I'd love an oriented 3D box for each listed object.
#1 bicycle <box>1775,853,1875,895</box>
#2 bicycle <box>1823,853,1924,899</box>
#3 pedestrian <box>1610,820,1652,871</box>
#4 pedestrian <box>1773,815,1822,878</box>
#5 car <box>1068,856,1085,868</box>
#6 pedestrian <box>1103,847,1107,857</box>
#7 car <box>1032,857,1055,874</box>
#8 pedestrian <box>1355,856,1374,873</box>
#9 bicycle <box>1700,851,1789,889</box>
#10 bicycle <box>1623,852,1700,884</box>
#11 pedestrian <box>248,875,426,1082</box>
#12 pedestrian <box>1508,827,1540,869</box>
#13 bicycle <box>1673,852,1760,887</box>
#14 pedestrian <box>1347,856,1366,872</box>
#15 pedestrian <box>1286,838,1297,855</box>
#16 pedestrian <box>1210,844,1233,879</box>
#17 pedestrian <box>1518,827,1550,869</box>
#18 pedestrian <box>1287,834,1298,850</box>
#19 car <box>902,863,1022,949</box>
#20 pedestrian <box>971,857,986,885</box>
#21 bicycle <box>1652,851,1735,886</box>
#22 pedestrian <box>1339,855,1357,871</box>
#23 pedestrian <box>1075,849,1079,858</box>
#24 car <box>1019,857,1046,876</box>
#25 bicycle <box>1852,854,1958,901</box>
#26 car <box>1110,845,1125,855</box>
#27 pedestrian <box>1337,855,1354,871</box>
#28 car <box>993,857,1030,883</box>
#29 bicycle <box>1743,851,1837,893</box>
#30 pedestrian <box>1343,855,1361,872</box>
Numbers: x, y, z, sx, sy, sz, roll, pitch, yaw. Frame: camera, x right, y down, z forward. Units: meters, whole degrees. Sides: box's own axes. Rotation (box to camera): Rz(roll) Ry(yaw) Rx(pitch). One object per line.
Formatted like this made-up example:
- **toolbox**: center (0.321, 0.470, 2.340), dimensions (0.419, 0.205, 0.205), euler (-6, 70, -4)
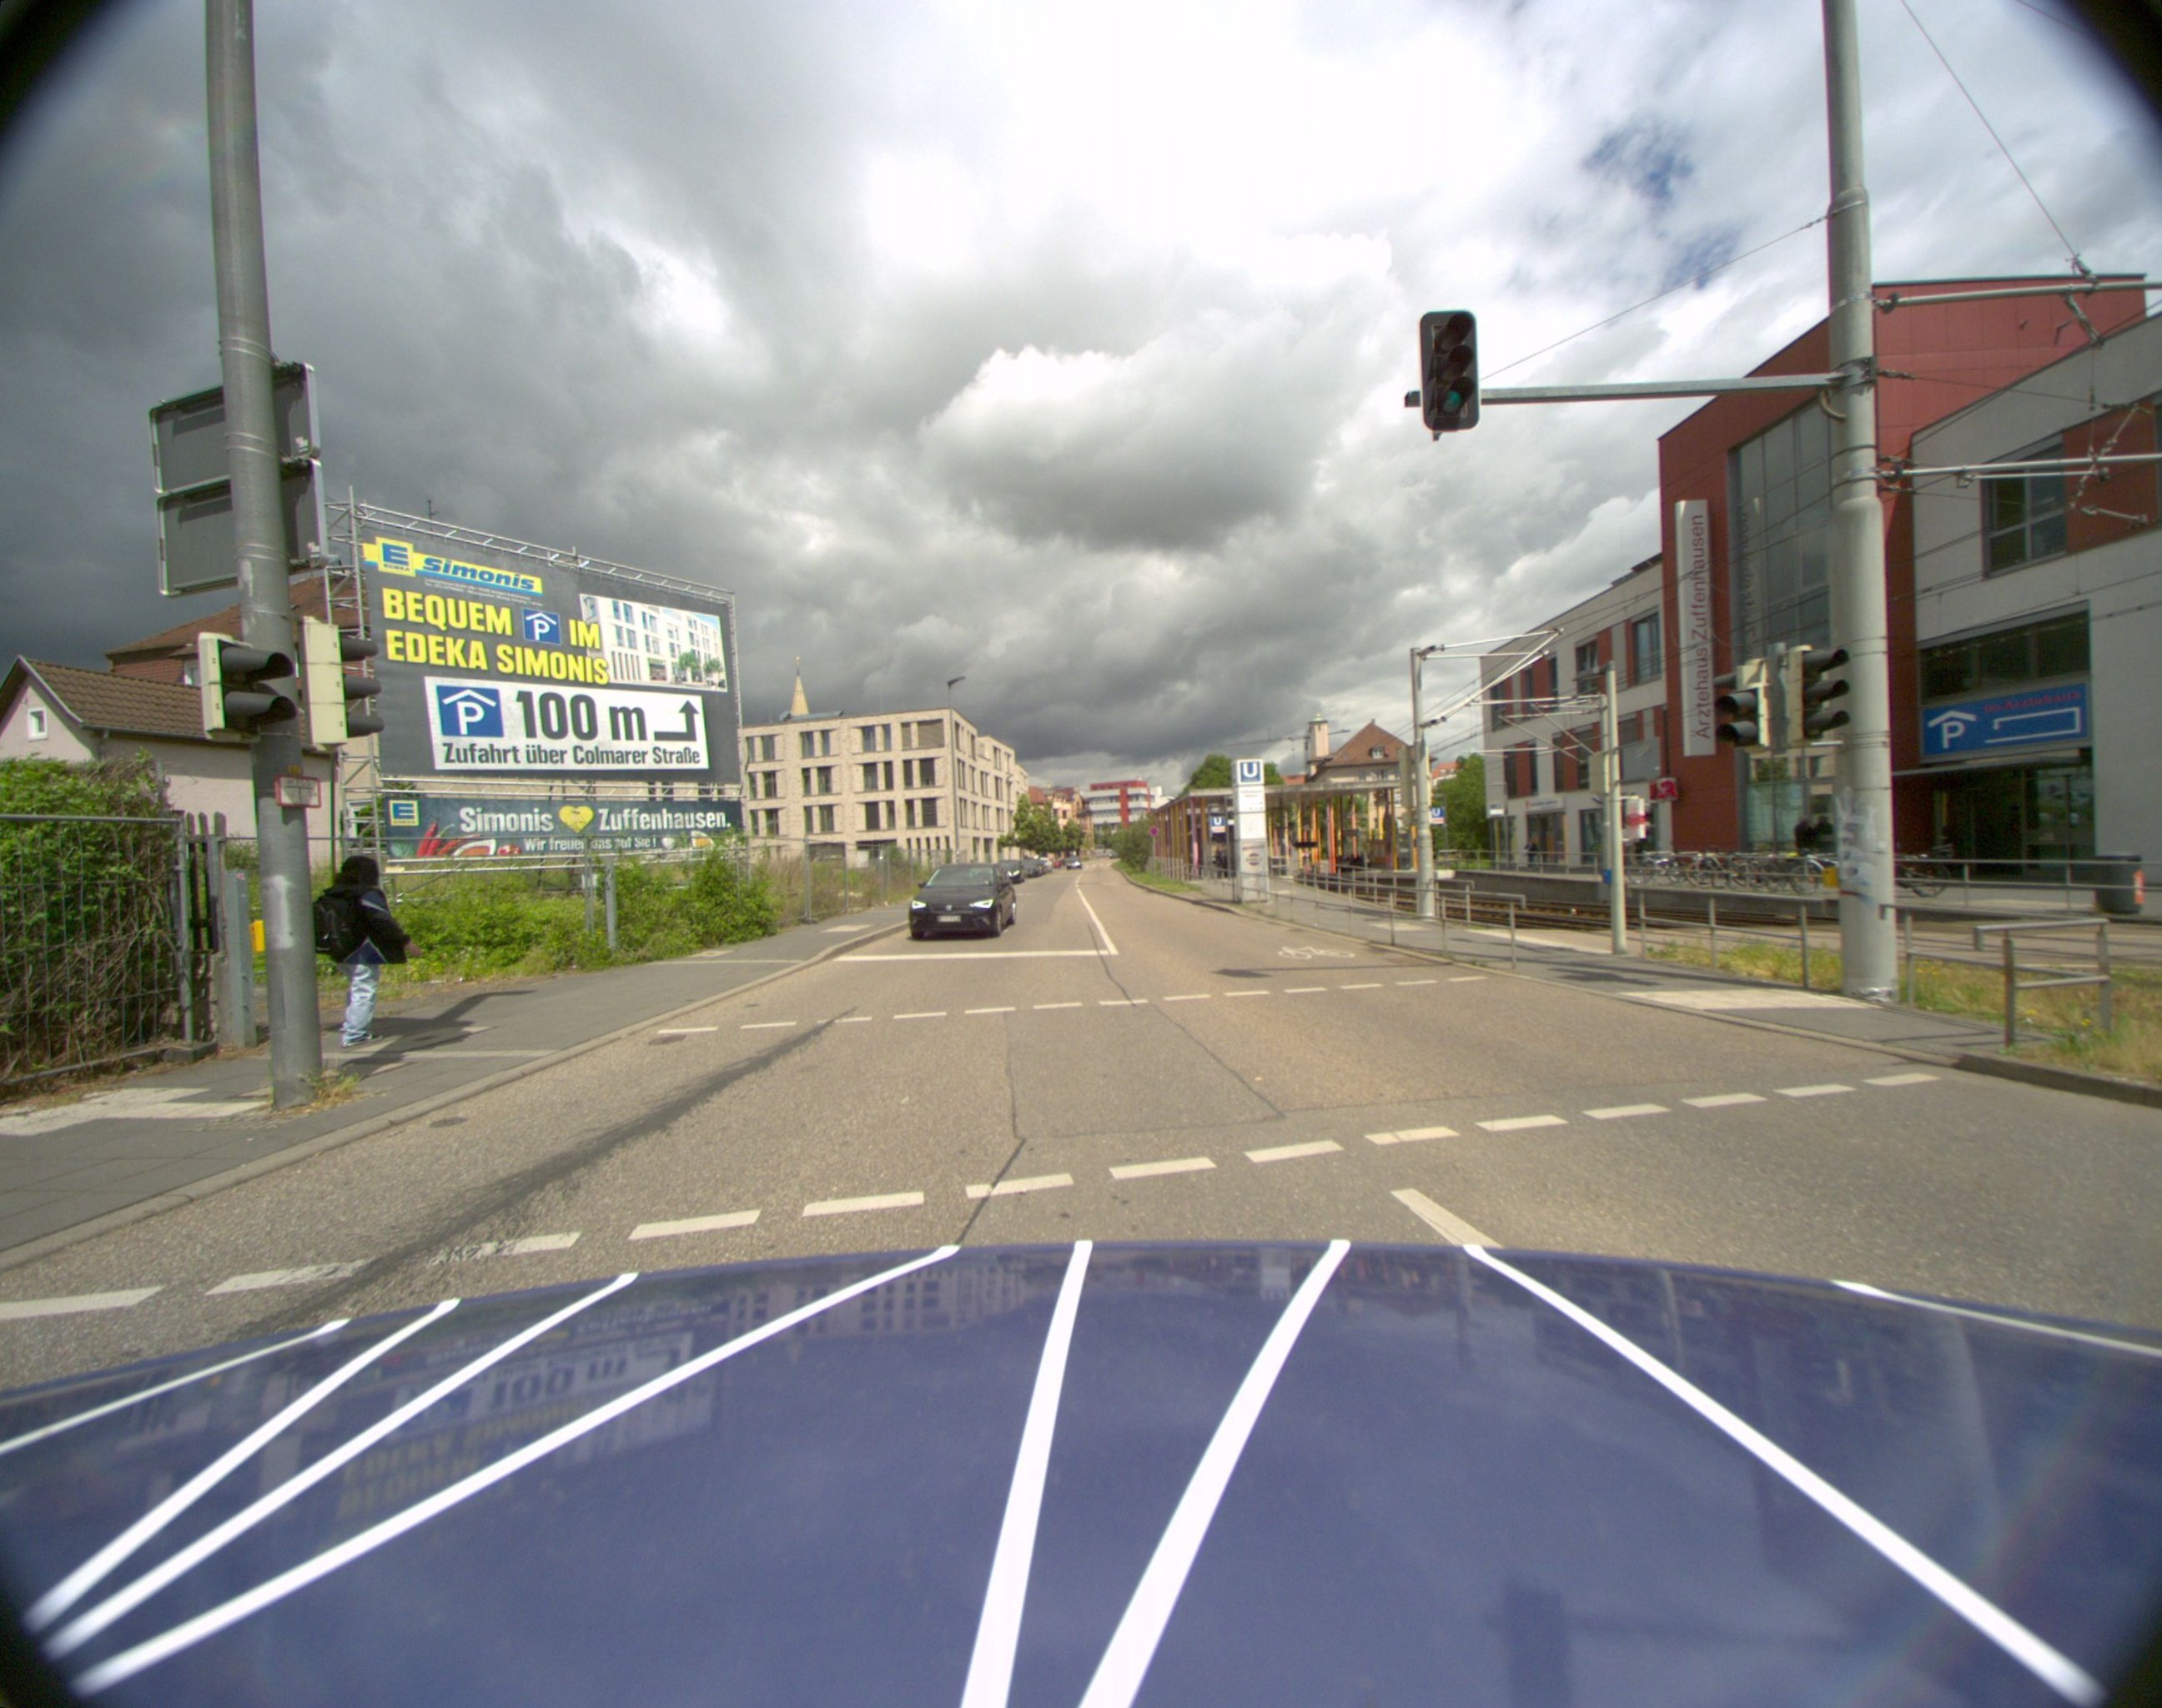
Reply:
- **bicycle**: center (17.648, 0.472, 18.041), dimensions (1.862, 0.930, 0.454), euler (-2, 1, 3)
- **bicycle**: center (17.715, 0.492, 17.001), dimensions (1.739, 0.952, 0.428), euler (-2, 1, 3)
- **pedestrian**: center (21.815, -0.350, 30.152), dimensions (0.864, 1.957, 1.106), euler (-1, 2, 3)
- **pedestrian**: center (22.014, -0.237, 23.342), dimensions (0.881, 1.835, 0.862), euler (-4, 3, -27)
- **car**: center (-0.486, 0.899, 88.024), dimensions (1.677, 1.299, 3.794), euler (-1, 1, 3)
- **pedestrian**: center (4.857, -0.453, 153.081), dimensions (0.800, 2.002, 0.810), euler (-1, 0, 9)
- **car**: center (-3.296, 0.994, 67.665), dimensions (1.677, 1.299, 3.794), euler (-1, 1, 3)
- **pedestrian**: center (19.271, 0.702, 51.686), dimensions (0.943, 1.128, 0.886), euler (-2, 0, 2)
- **bicycle**: center (17.551, 0.432, 20.124), dimensions (1.861, 0.934, 0.454), euler (-2, 1, 5)
- **bicycle**: center (17.535, 0.425, 22.982), dimensions (1.861, 0.876, 0.455), euler (-2, 1, 9)
- **pedestrian**: center (-6.316, 1.005, 6.484), dimensions (0.765, 1.633, 0.778), euler (-1, 0, 12)
- **pedestrian**: center (21.235, -0.301, 36.425), dimensions (0.864, 1.957, 1.105), euler (-1, 2, -1)
- **bicycle**: center (17.569, 0.425, 21.025), dimensions (1.861, 0.917, 0.455), euler (-2, 1, 8)
- **pedestrian**: center (19.076, 0.688, 52.642), dimensions (0.943, 1.128, 0.886), euler (-2, 0, 2)
- **pedestrian**: center (25.185, -0.907, 91.019), dimensions (1.127, 2.002, 1.459), euler (-2, 0, 13)
- **pedestrian**: center (7.707, 0.399, 41.647), dimensions (1.105, 1.903, 0.864), euler (-1, 2, 2)
- **pedestrian**: center (21.721, -0.308, 36.443), dimensions (0.864, 1.957, 1.105), euler (-1, 2, -1)
- **pedestrian**: center (27.152, -1.520, 97.504), dimensions (1.127, 2.002, 1.179), euler (-2, 0, 6)
- **car**: center (-2.344, 0.976, 15.865), dimensions (1.677, 1.425, 3.794), euler (-2, 1, 3)
- **pedestrian**: center (-5.740, 0.955, 42.714), dimensions (0.673, 1.503, 0.782), euler (-2, 0, 1)
- **bicycle**: center (17.595, 0.411, 21.854), dimensions (1.861, 0.927, 0.455), euler (-2, 1, 9)
- **pedestrian**: center (19.188, 0.650, 54.590), dimensions (0.943, 1.128, 0.886), euler (-2, 0, 2)
- **pedestrian**: center (-0.753, -0.132, 136.771), dimensions (0.673, 1.503, 0.783), euler (-2, 0, 3)
- **car**: center (-3.796, 0.987, 59.961), dimensions (1.677, 1.367, 3.795), euler (-2, 0, 3)
- **bicycle**: center (17.726, 0.505, 16.368), dimensions (1.739, 0.947, 0.428), euler (-2, 1, 3)
- **car**: center (6.623, -0.760, 137.334), dimensions (1.996, 1.710, 4.003), euler (-1, 1, 13)
- **pedestrian**: center (19.362, 0.640, 55.554), dimensions (0.943, 1.128, 0.886), euler (-2, 0, 2)
- **car**: center (-4.152, 0.962, 46.117), dimensions (1.677, 1.415, 3.794), euler (-1, 1, 3)
- **bicycle**: center (17.685, 0.441, 18.973), dimensions (1.862, 0.957, 0.454), euler (-2, 1, 3)
- **pedestrian**: center (19.091, 0.670, 53.600), dimensions (0.943, 1.128, 0.886), euler (-2, 0, 2)
